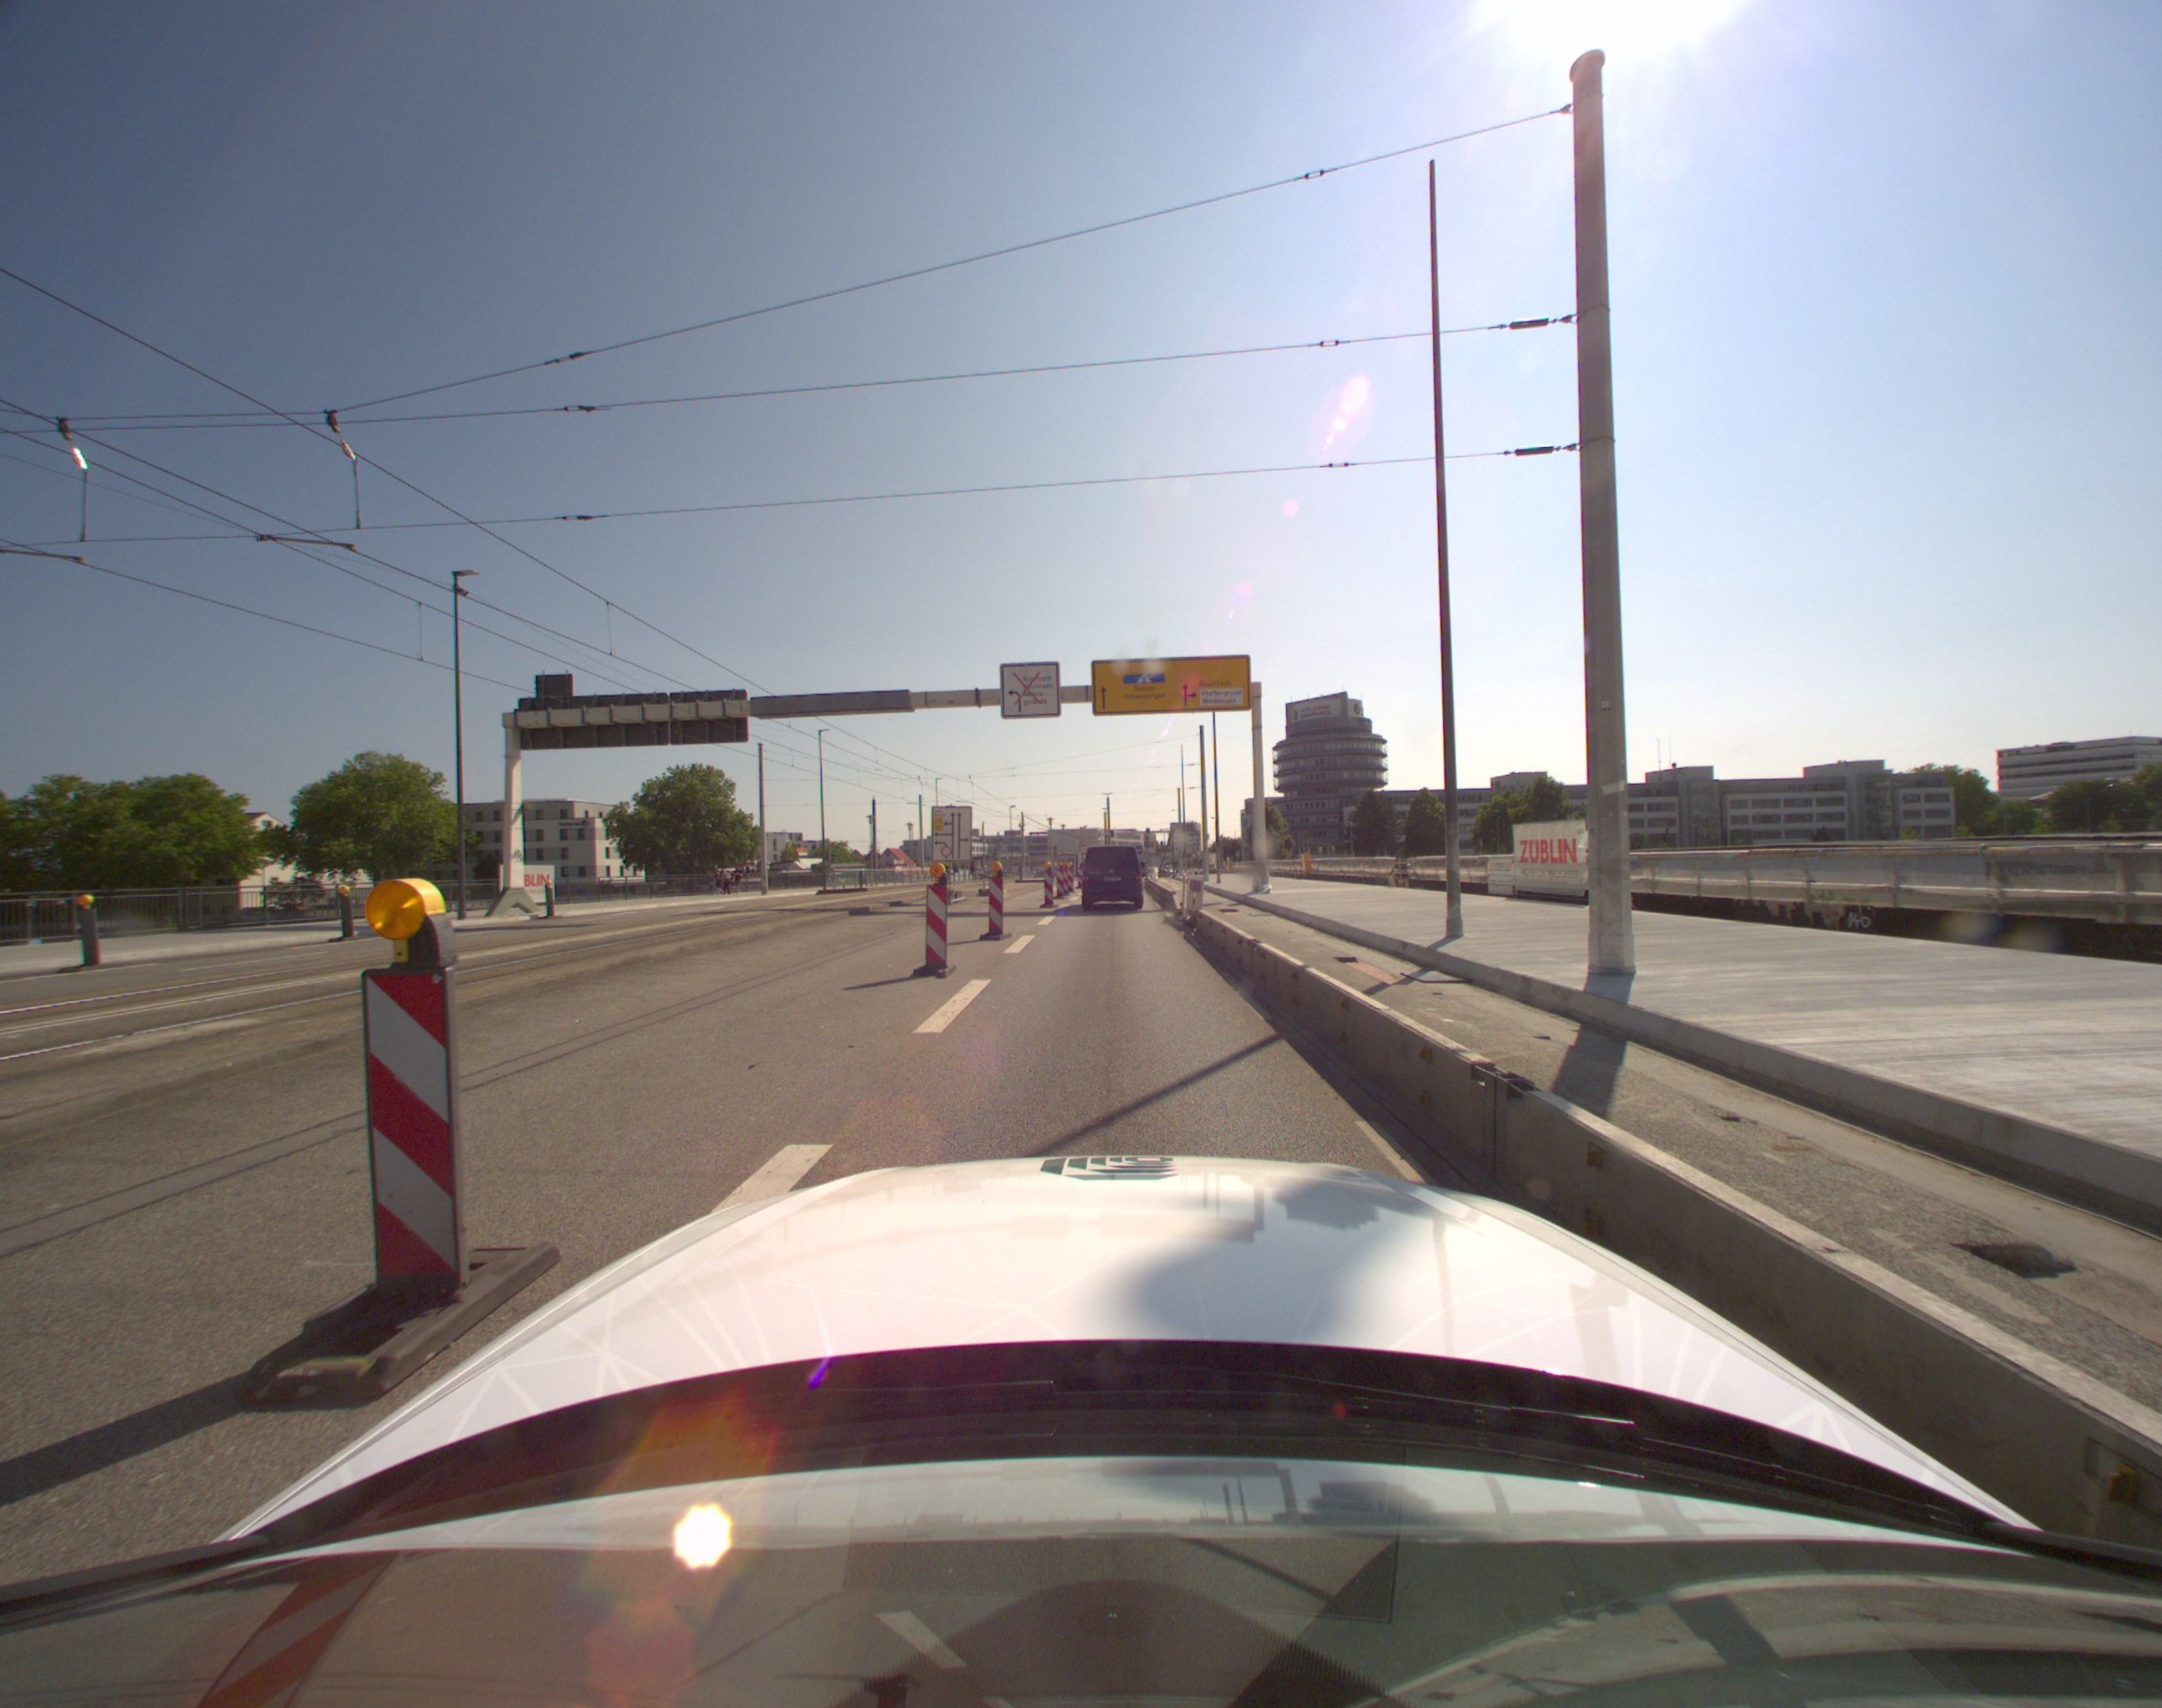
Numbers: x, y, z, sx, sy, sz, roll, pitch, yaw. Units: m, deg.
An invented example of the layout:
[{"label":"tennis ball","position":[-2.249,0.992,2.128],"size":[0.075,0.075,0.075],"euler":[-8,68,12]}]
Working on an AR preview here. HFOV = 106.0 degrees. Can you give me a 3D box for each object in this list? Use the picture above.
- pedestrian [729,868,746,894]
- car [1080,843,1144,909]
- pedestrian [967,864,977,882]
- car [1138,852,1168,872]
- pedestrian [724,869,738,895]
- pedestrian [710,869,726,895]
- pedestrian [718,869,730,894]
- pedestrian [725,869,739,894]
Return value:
[{"label":"pedestrian","position":[-23.049,1.805,54.684],"size":[0.749,1.687,0.733],"euler":[-2,-1,4]},{"label":"car","position":[0.968,0.653,25.991],"size":[1.881,1.934,4.001],"euler":[0,0,1]},{"label":"pedestrian","position":[-10.203,1.783,76.297],"size":[0.655,1.654,0.742],"euler":[-2,-1,15]},{"label":"car","position":[10.485,1.092,118.587],"size":[2.317,2.887,6.005],"euler":[-1,0,26]},{"label":"pedestrian","position":[-23.050,1.845,53.586],"size":[0.484,1.687,0.809],"euler":[-2,-1,5]},{"label":"pedestrian","position":[-23.717,1.813,53.195],"size":[0.595,1.687,0.819],"euler":[-2,-1,5]},{"label":"pedestrian","position":[-23.716,1.821,54.108],"size":[0.381,1.687,0.771],"euler":[-2,-1,5]},{"label":"pedestrian","position":[-23.942,1.901,55.870],"size":[0.501,1.687,0.774],"euler":[-2,-1,5]}]
